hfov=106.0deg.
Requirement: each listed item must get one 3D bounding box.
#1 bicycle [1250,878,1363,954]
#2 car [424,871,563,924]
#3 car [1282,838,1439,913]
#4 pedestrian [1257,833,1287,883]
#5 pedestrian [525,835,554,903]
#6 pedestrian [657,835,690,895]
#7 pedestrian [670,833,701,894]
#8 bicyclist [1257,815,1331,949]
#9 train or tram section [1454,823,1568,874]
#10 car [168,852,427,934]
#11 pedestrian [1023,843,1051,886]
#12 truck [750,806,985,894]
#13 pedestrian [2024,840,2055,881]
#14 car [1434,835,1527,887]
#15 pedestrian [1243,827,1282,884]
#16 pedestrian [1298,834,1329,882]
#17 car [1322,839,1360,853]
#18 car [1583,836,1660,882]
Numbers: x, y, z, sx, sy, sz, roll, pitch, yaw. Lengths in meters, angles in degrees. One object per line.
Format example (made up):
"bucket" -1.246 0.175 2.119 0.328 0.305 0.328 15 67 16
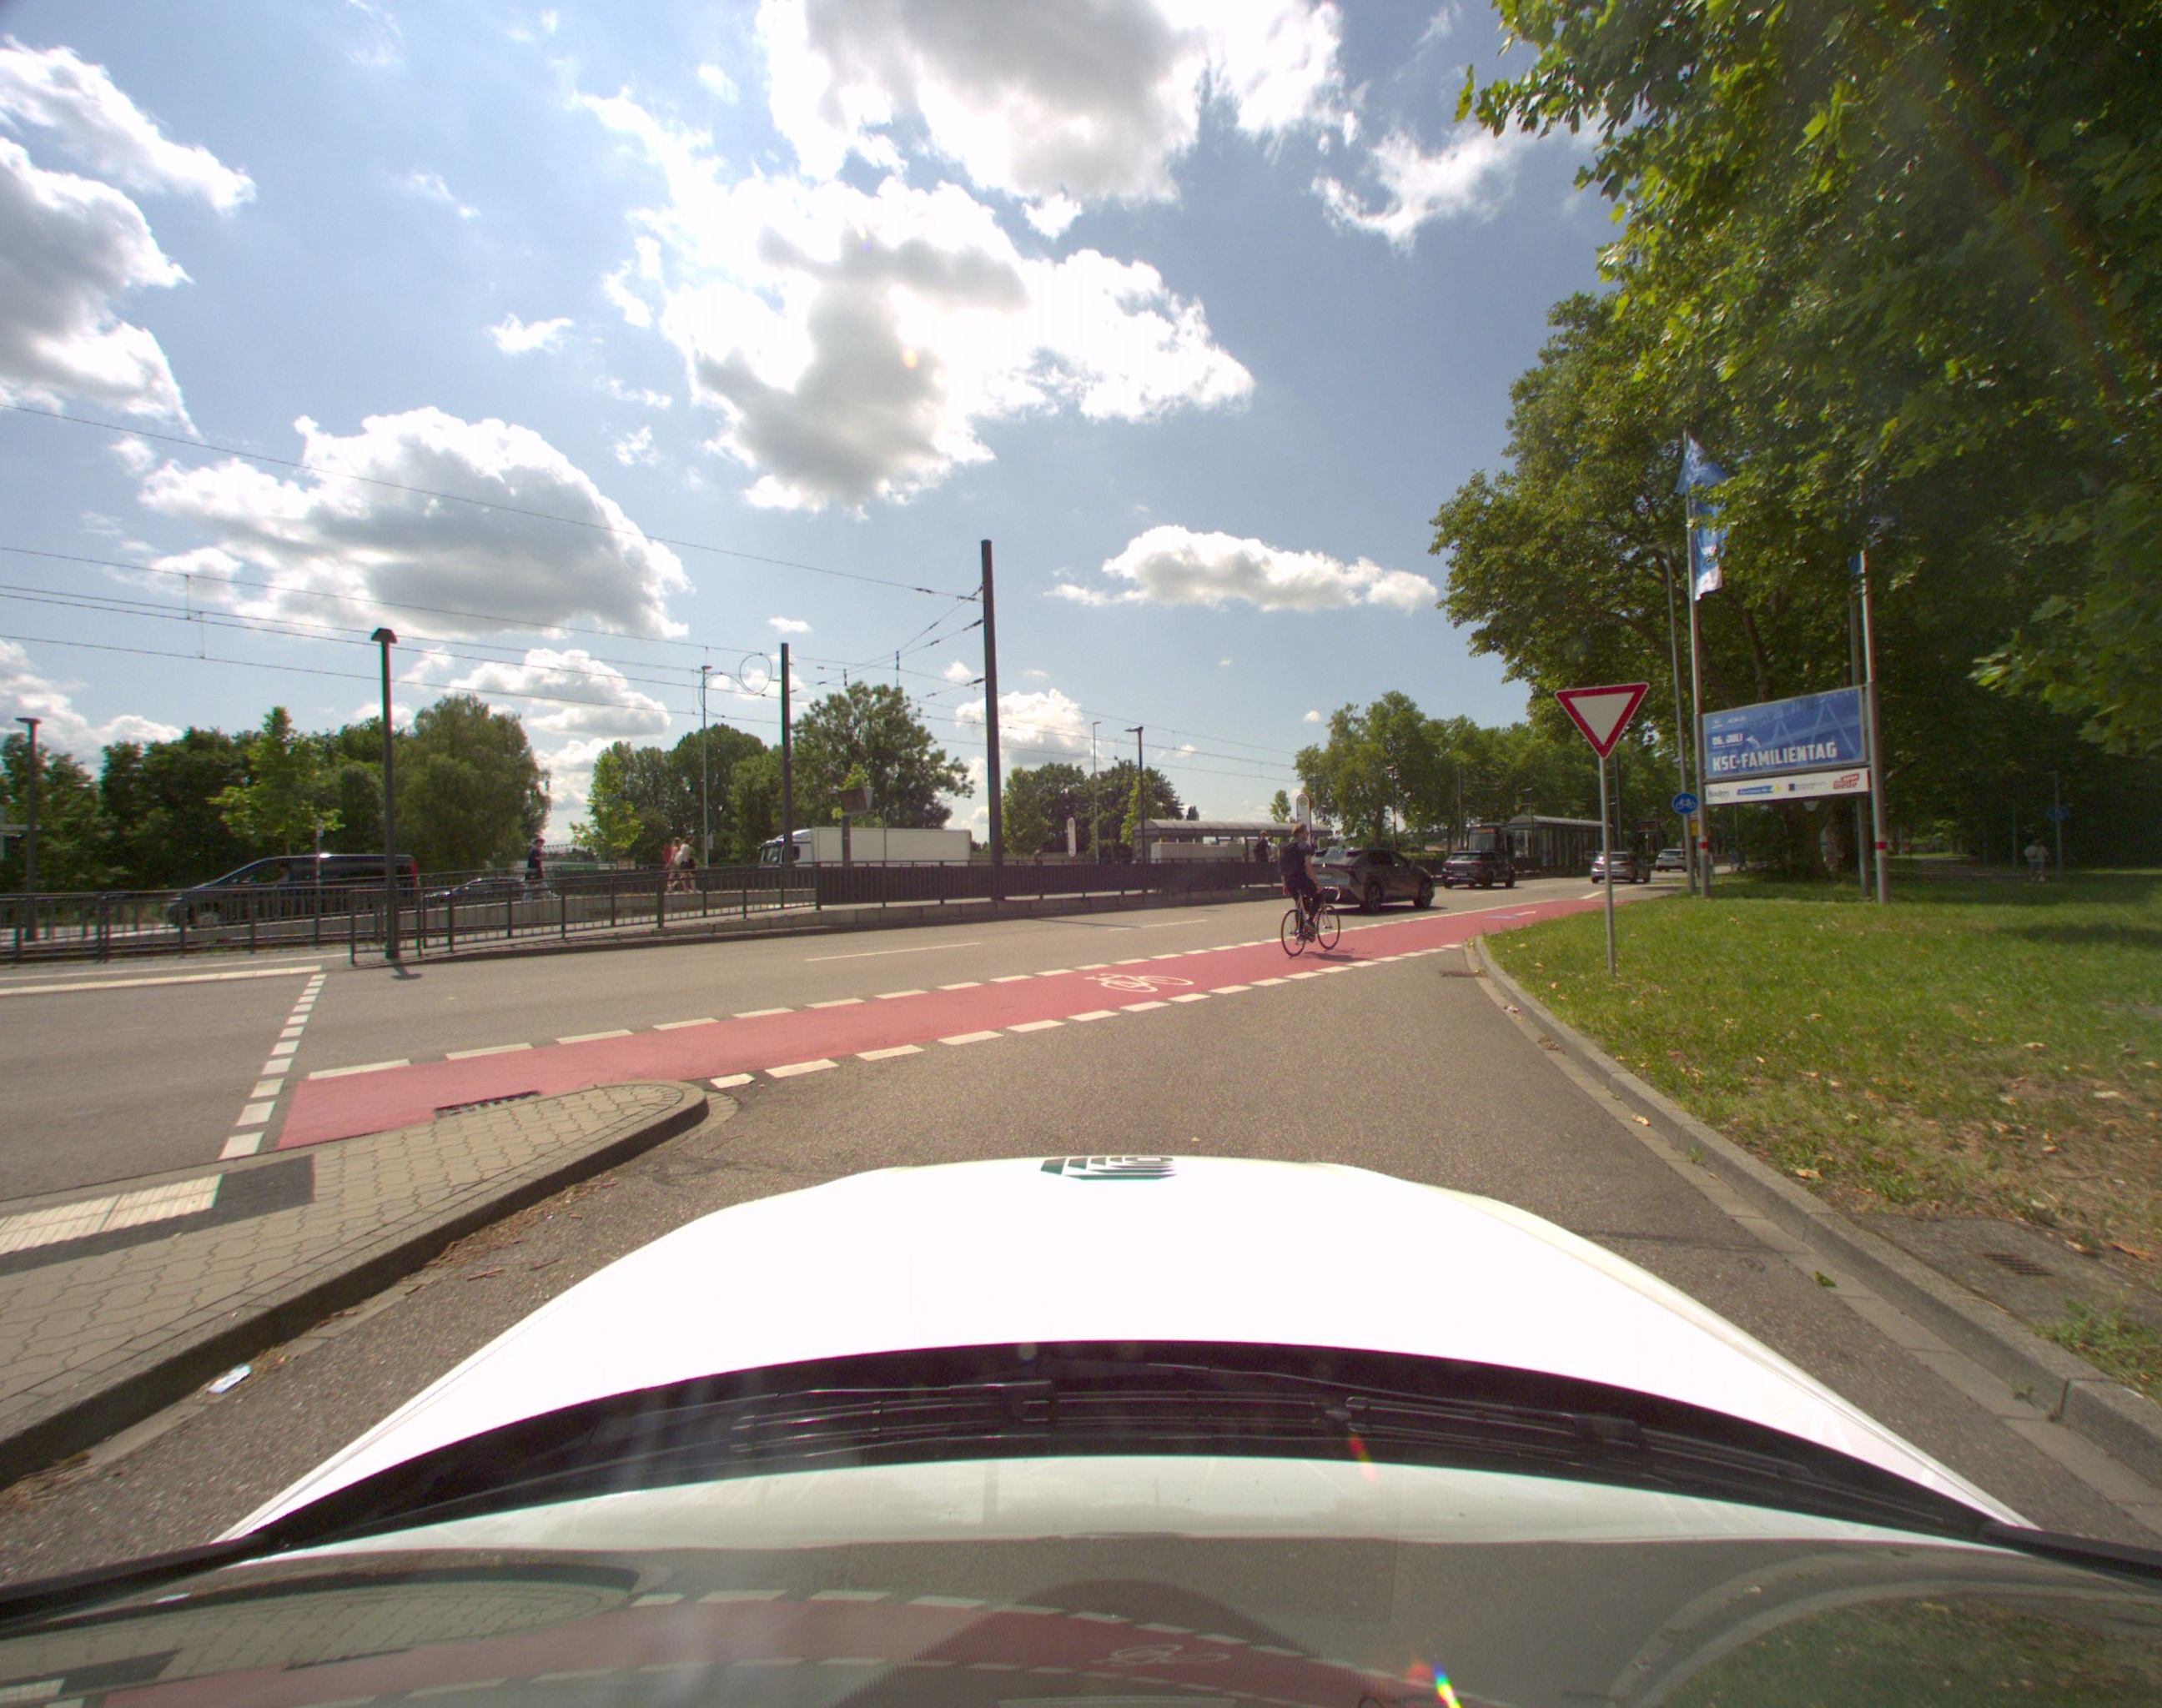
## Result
"bicycle" 3.368 0.880 12.039 2.034 0.999 0.614 1 -1 -43
"car" -22.882 1.631 31.807 4.185 1.774 1.862 -2 0 -43
"car" 7.195 0.472 20.699 4.545 1.674 1.880 -1 0 -44
"pedestrian" 7.430 0.152 31.667 0.873 1.871 0.674 -2 0 -11
"pedestrian" -14.125 0.390 21.253 0.527 1.721 0.722 -2 0 -38
"pedestrian" -12.133 0.317 24.232 0.712 1.721 0.594 -2 0 -40
"pedestrian" -11.539 0.255 23.747 0.681 1.748 0.629 0 1 -40
"bicyclist" 3.084 0.386 11.782 0.929 1.846 0.604 0 -1 -43
"train or tram section" 30.411 -0.362 57.073 3.009 3.186 14.183 -2 -1 45
"car" -20.261 0.929 21.354 4.693 1.820 1.976 -2 0 -43
"pedestrian" -1.850 0.437 34.327 0.935 1.807 0.727 -1 -1 -43
"truck" -10.939 -0.237 43.287 12.062 4.104 2.917 -1 0 -42
"pedestrian" 40.025 0.260 34.003 0.896 1.695 0.768 0 -1 -43
"car" 16.408 0.258 33.386 4.387 1.989 1.976 0 0 -43
"pedestrian" 6.344 0.045 28.484 1.000 1.939 0.865 -2 0 -44
"pedestrian" 8.652 0.137 30.303 0.935 1.755 0.727 -1 -1 -43
"car" 31.457 -0.947 98.547 1.920 1.662 3.881 -2 0 -42
"car" 25.085 0.203 37.737 4.387 1.989 1.976 -2 0 -43
